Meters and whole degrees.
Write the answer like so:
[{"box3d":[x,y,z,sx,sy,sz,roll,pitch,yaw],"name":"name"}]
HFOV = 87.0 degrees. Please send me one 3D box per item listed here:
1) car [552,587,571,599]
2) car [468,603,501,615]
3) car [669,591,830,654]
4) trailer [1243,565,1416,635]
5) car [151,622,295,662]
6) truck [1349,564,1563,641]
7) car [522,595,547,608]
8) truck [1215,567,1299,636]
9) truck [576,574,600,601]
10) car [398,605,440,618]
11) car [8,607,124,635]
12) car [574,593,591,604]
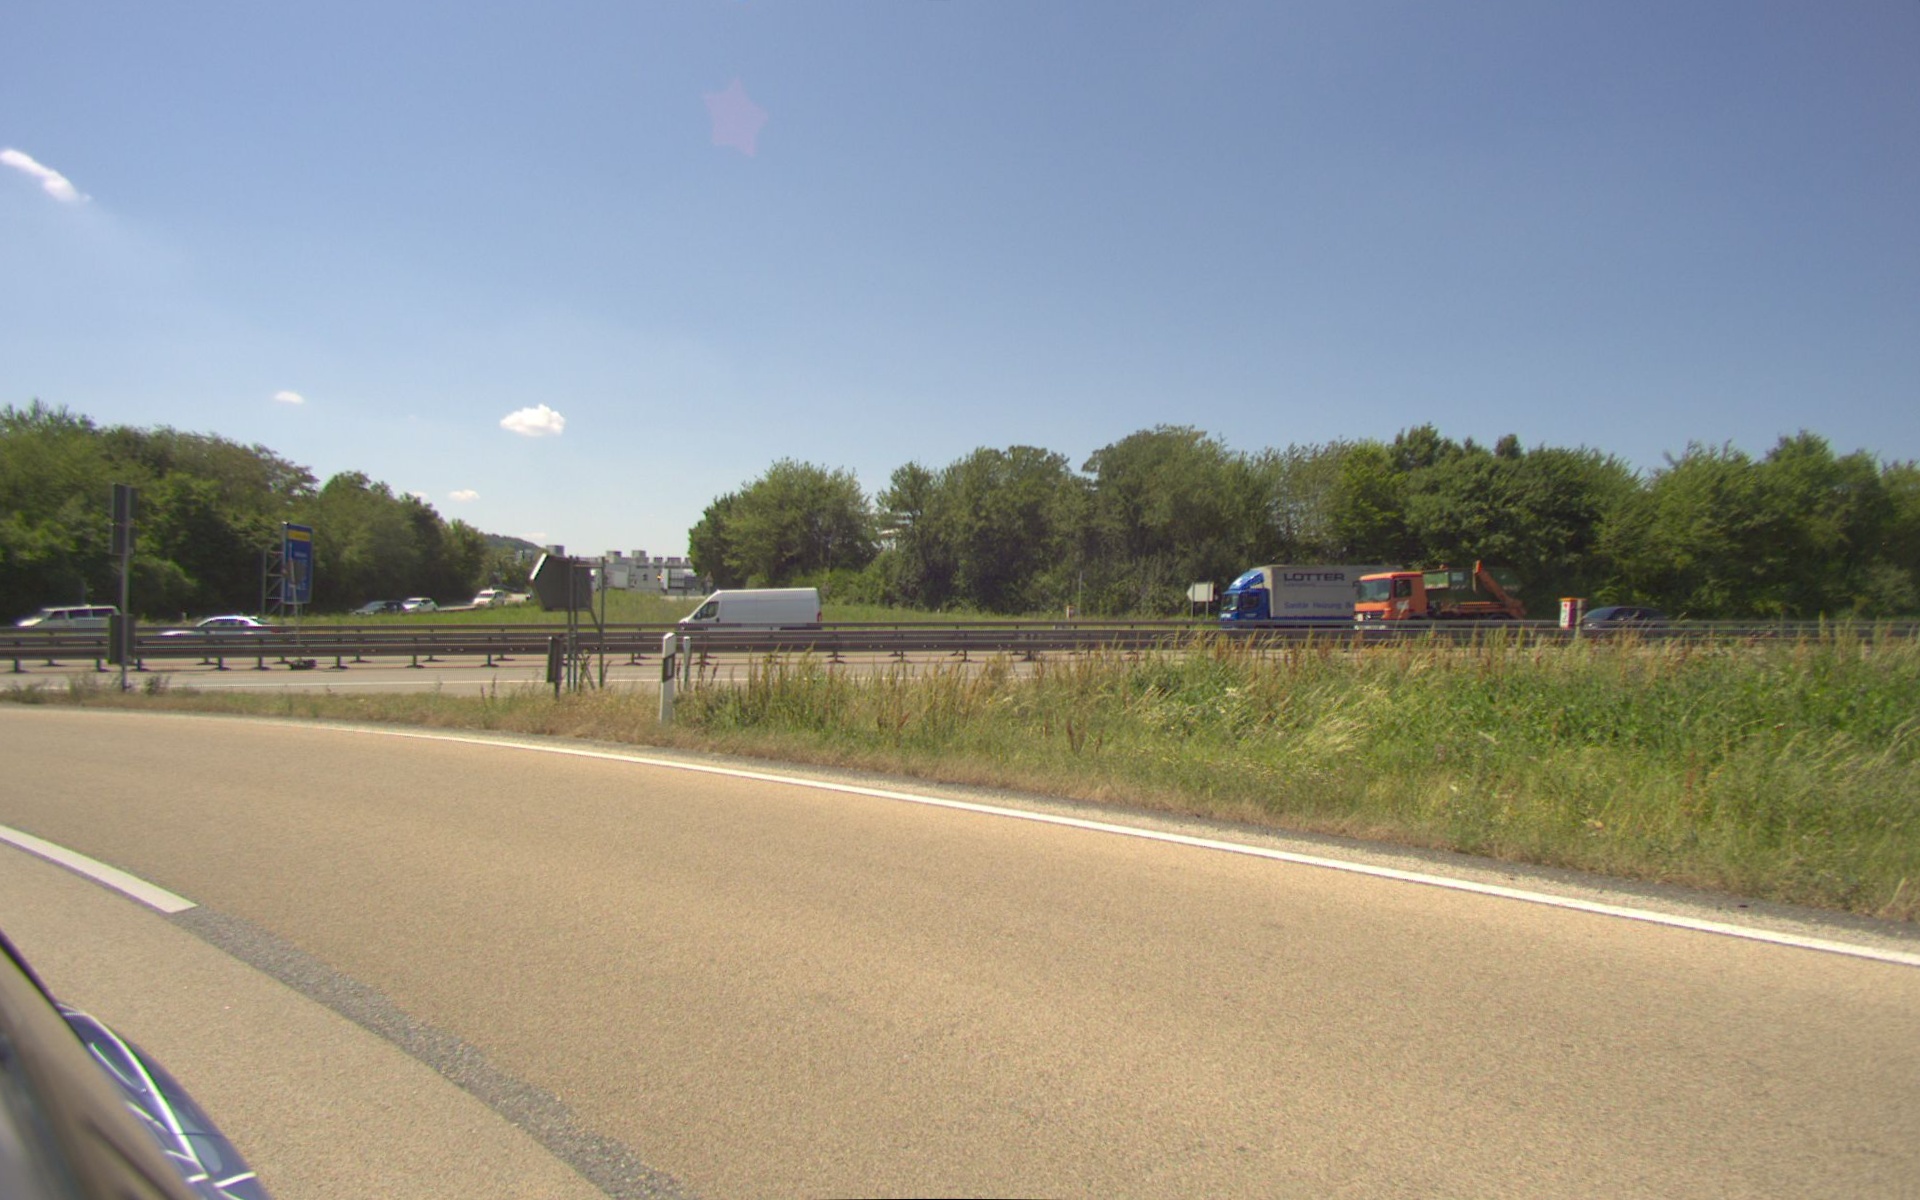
[{"box3d":[-52.941,-0.959,134.423,1.574,1.443,3.577,-1,-1,-9],"name":"car"},{"box3d":[-48.969,0.904,104.349,1.511,1.175,4.076,-1,-1,0],"name":"car"},{"box3d":[-8.935,0.940,43.487,6.594,2.557,2.167,-1,0,-6],"name":"car"},{"box3d":[17.074,0.016,47.033,7.116,3.032,2.307,-1,-1,-2],"name":"trailer"},{"box3d":[-29.901,1.691,41.183,4.463,1.496,1.707,-1,0,-9],"name":"car"},{"box3d":[20.833,0.141,42.640,8.071,3.085,2.609,0,-1,-11],"name":"truck"},{"box3d":[-51.116,0.228,121.614,1.576,1.443,3.753,-1,-1,-4],"name":"car"},{"box3d":[13.731,0.081,46.956,3.031,3.032,2.317,-1,-1,-3],"name":"truck"},{"box3d":[-58.995,-1.927,160.706,2.787,4.190,4.008,-1,0,-9],"name":"truck"},{"box3d":[-48.948,1.031,91.607,1.514,1.175,3.868,-1,-1,6],"name":"car"},{"box3d":[-55.684,1.306,63.150,2.007,1.653,5.068,-1,-1,26],"name":"car"},{"box3d":[-53.407,-0.225,143.111,1.574,1.443,3.577,-1,-1,-9],"name":"car"}]
